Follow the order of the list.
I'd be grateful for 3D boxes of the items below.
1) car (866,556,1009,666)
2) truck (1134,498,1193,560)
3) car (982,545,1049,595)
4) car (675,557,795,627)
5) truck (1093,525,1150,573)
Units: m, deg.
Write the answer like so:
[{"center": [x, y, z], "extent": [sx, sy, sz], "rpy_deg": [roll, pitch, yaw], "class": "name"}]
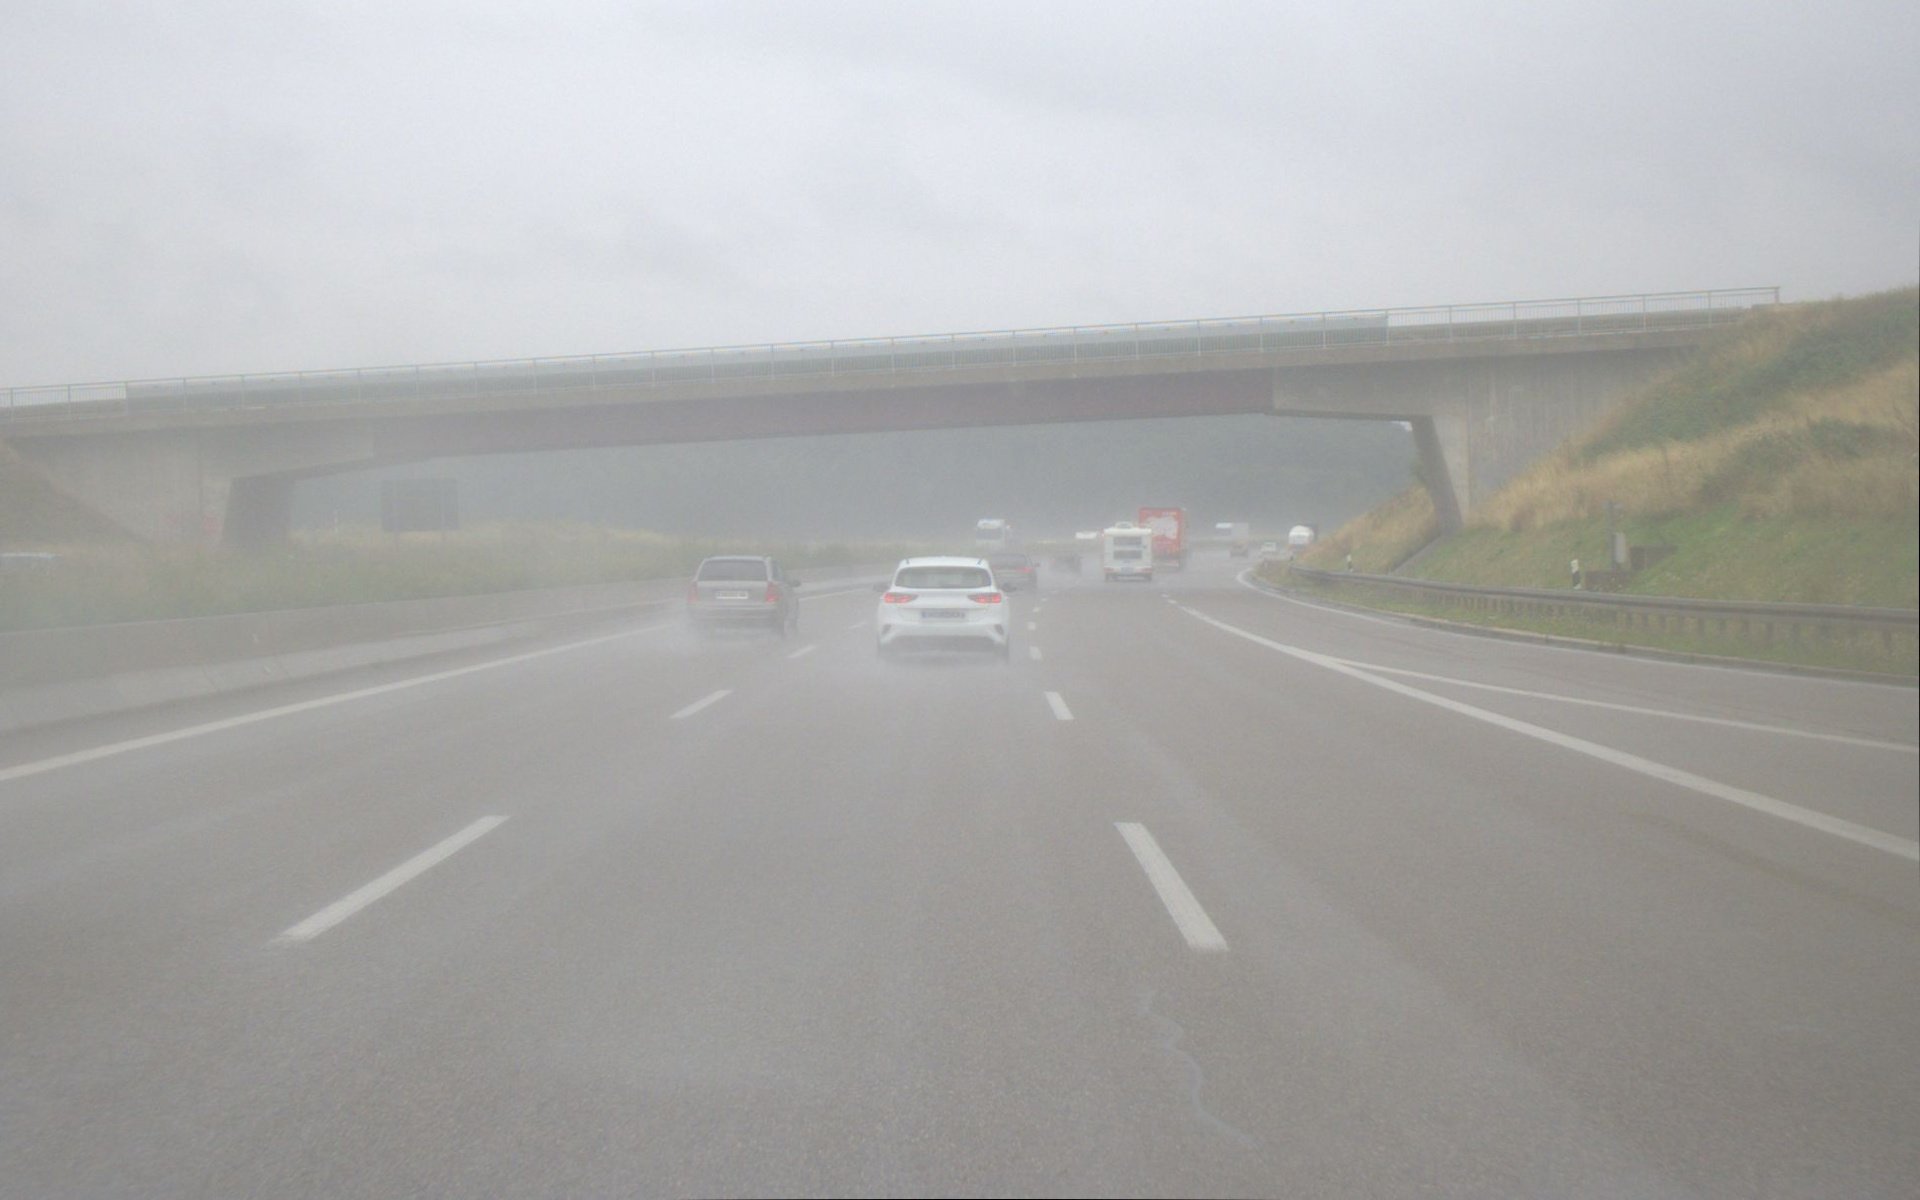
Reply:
[{"center": [-0.349, 0.136, 47.536], "extent": [1.867, 1.458, 4.000], "rpy_deg": [0, 0, -2], "class": "car"}, {"center": [12.644, -4.476, 213.851], "extent": [3.527, 3.730, 11.425], "rpy_deg": [1, 2, 3], "class": "truck"}, {"center": [1.848, -1.021, 113.578], "extent": [1.994, 1.612, 4.000], "rpy_deg": [0, 1, 4], "class": "car"}, {"center": [-3.863, -0.127, 59.700], "extent": [1.823, 1.152, 4.213], "rpy_deg": [1, 0, 0], "class": "car"}, {"center": [7.615, -2.408, 161.647], "extent": [2.408, 2.244, 4.692], "rpy_deg": [0, 1, 6], "class": "truck"}]
